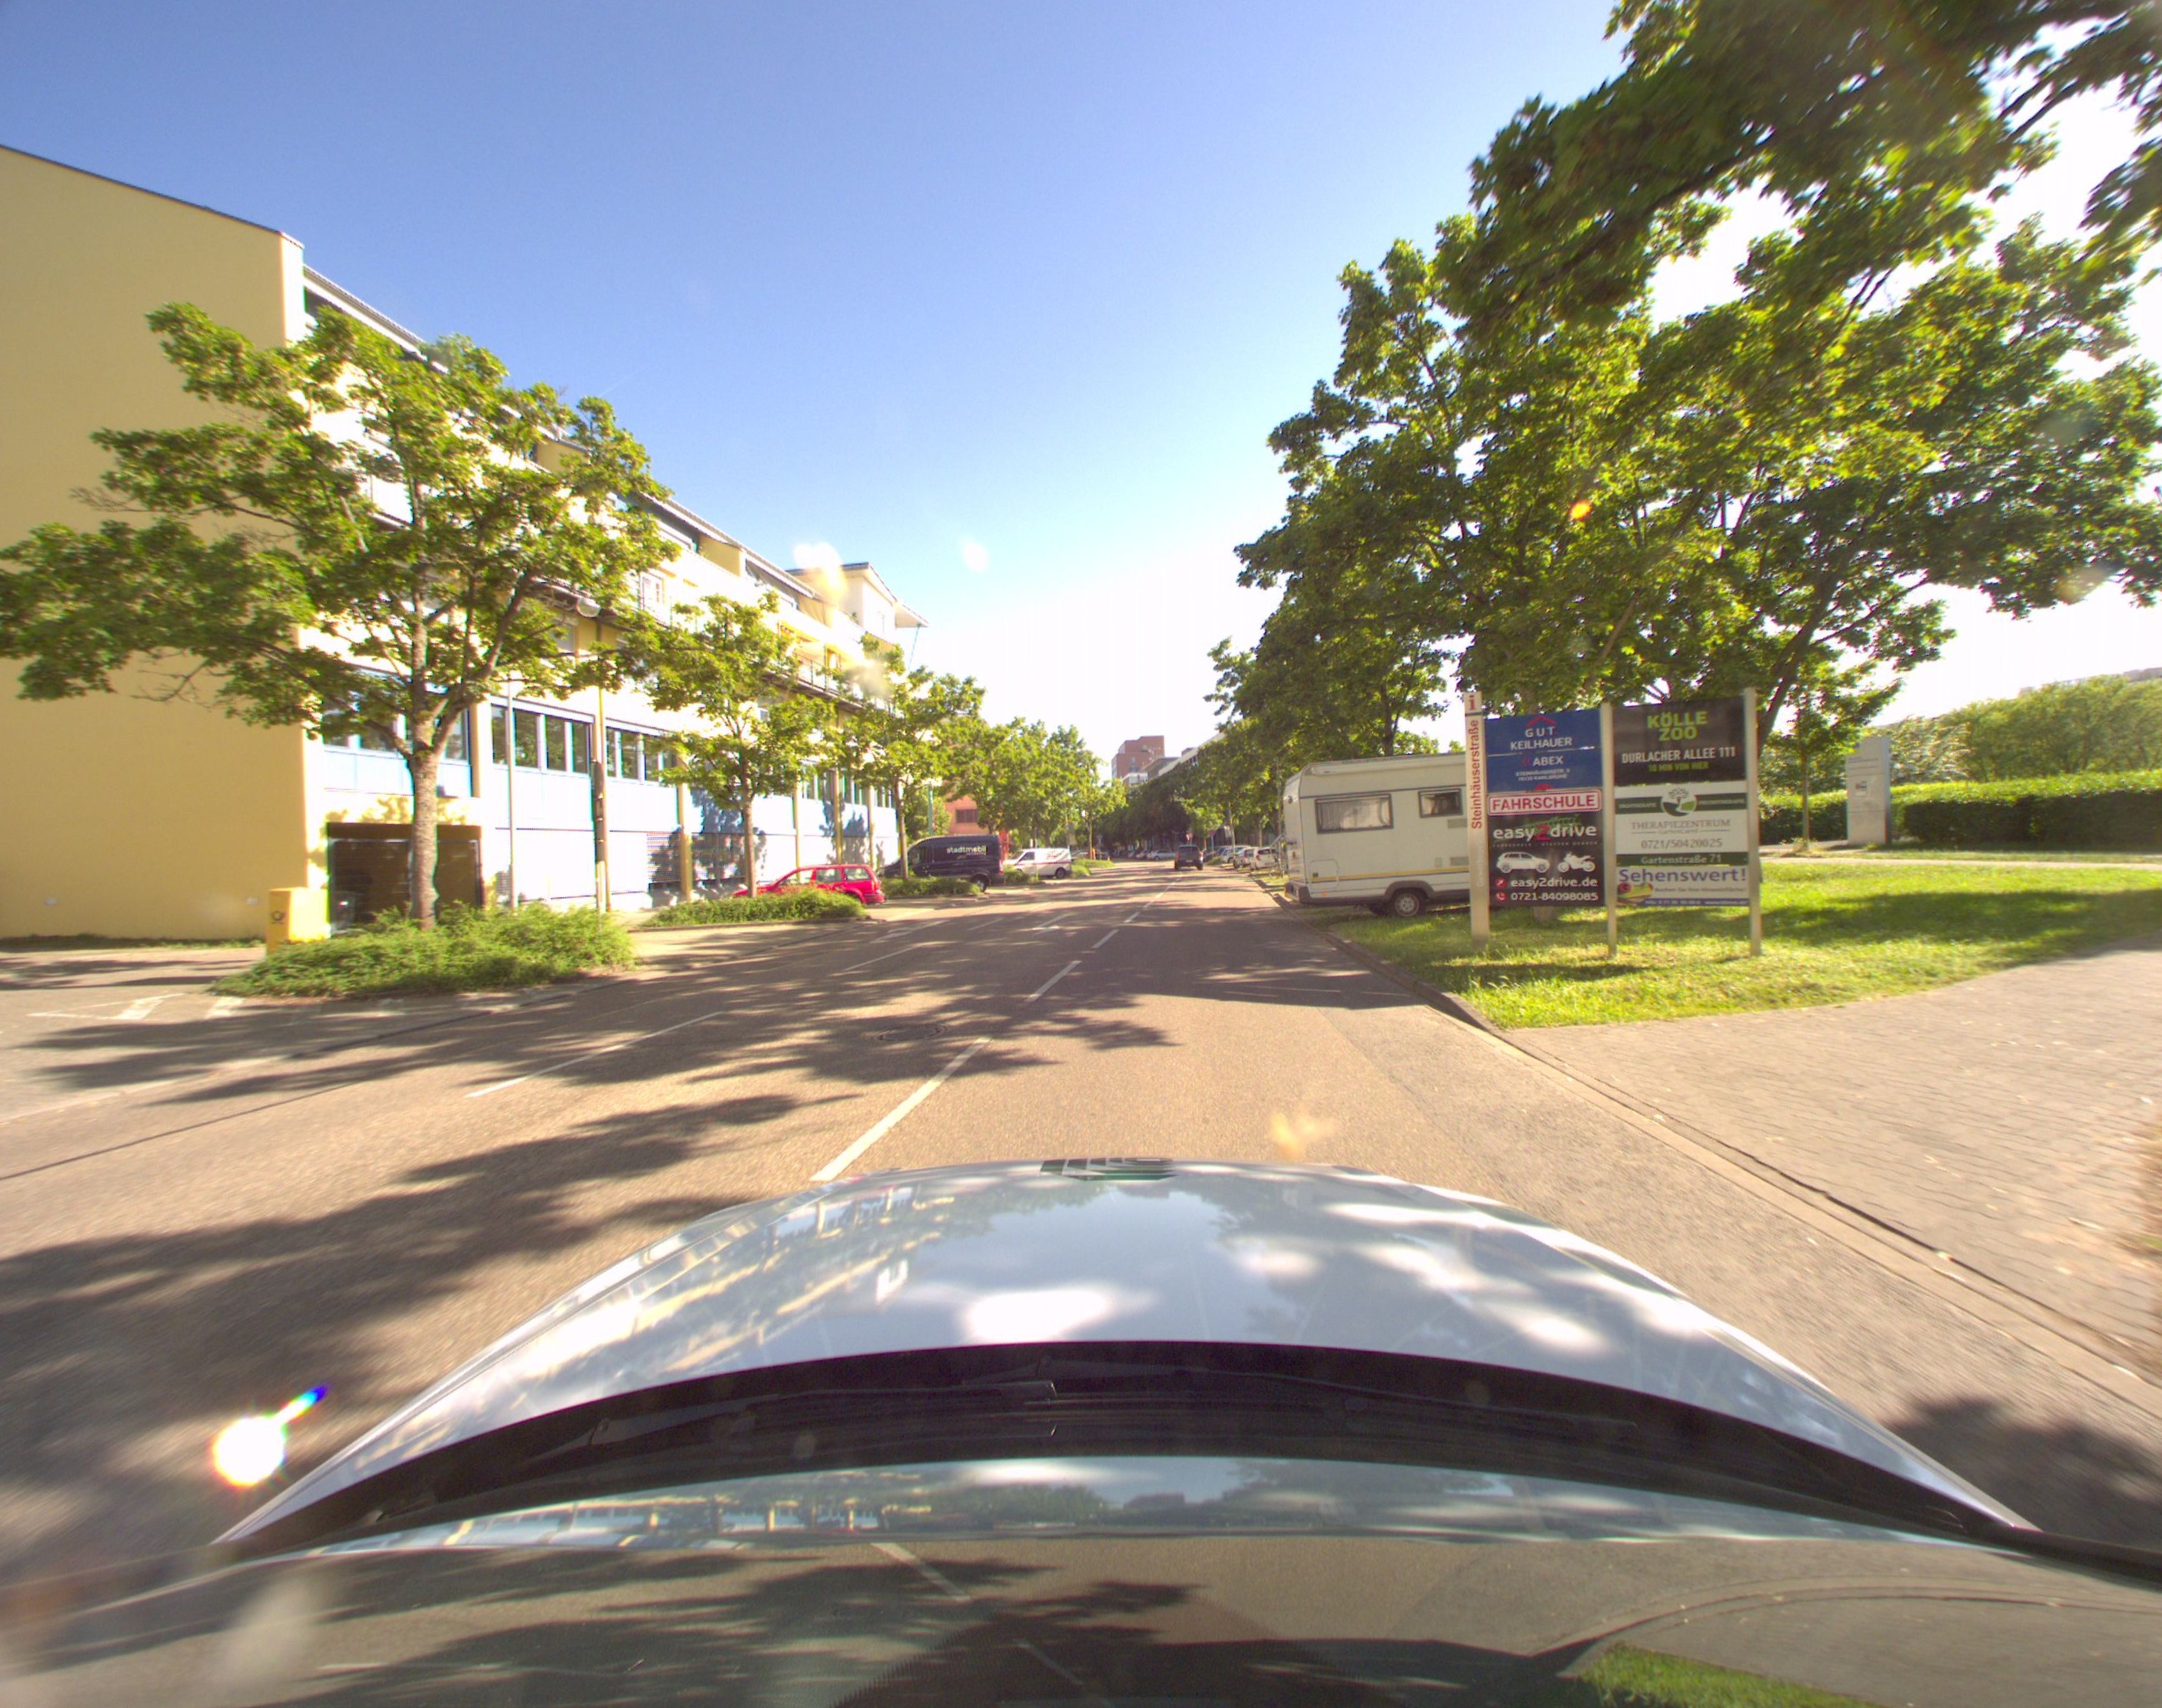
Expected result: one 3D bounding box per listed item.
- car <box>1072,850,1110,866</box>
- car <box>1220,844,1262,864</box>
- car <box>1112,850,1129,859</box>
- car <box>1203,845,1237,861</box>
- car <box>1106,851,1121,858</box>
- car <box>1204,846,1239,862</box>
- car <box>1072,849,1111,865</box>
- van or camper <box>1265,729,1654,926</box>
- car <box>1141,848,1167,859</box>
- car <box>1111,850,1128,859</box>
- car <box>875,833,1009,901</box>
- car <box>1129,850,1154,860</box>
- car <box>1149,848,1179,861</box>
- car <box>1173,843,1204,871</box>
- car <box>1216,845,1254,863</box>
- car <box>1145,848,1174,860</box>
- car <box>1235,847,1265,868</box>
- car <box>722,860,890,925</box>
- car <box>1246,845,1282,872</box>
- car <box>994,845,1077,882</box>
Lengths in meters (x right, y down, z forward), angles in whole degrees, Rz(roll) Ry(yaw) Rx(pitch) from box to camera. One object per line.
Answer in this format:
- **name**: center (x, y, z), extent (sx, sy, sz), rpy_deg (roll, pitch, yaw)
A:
- **car**: center (1.032, 0.406, 86.094), extent (3.872, 1.365, 1.409), rpy_deg (-5, 0, -1)
- **car**: center (13.235, -0.016, 67.358), extent (3.227, 1.397, 1.519), rpy_deg (-5, 0, 7)
- **car**: center (7.601, 0.157, 156.947), extent (3.204, 1.410, 1.262), rpy_deg (-5, 0, -1)
- **car**: center (13.746, -0.084, 80.560), extent (3.227, 1.277, 1.519), rpy_deg (-5, 0, 7)
- **car**: center (7.332, 0.068, 182.387), extent (3.204, 1.228, 1.262), rpy_deg (-5, 0, -1)
- **car**: center (13.479, -0.017, 78.340), extent (3.227, 1.277, 1.519), rpy_deg (-5, 0, 7)
- **car**: center (1.078, 0.338, 84.319), extent (3.872, 1.365, 1.409), rpy_deg (-5, 0, -1)
- **van or camper**: center (6.782, -0.429, 15.450), extent (6.046, 2.928, 2.581), rpy_deg (-5, 0, 7)
- **car**: center (11.453, -0.013, 128.178), extent (3.935, 1.397, 1.516), rpy_deg (-5, 0, -1)
- **car**: center (7.572, 0.068, 159.770), extent (3.269, 1.397, 1.516), rpy_deg (-5, 0, -1)
- **car**: center (-5.890, 0.514, 34.438), extent (5.274, 2.545, 1.974), rpy_deg (-3, 0, -17)
- **car**: center (10.167, 0.110, 137.178), extent (3.935, 1.397, 1.516), rpy_deg (-5, 0, -1)
- **car**: center (11.580, 0.076, 113.150), extent (3.935, 1.397, 1.516), rpy_deg (-5, 0, -1)
- **car**: center (7.861, 0.186, 59.820), extent (2.122, 1.835, 4.950), rpy_deg (-2, 1, 7)
- **car**: center (14.212, -0.033, 75.252), extent (3.227, 1.397, 1.519), rpy_deg (-5, 0, 7)
- **car**: center (11.576, 0.011, 120.271), extent (3.935, 1.397, 1.516), rpy_deg (-5, 0, -1)
- **car**: center (12.103, 0.239, 58.580), extent (1.506, 1.397, 3.256), rpy_deg (-5, 0, 2)
- **car**: center (-7.936, 1.063, 23.815), extent (4.417, 1.552, 1.911), rpy_deg (-3, 0, -17)
- **car**: center (11.378, 0.258, 50.699), extent (1.506, 1.482, 3.256), rpy_deg (-5, 0, 2)
- **car**: center (-2.920, 0.612, 52.406), extent (4.910, 2.083, 1.968), rpy_deg (-3, 0, -27)
